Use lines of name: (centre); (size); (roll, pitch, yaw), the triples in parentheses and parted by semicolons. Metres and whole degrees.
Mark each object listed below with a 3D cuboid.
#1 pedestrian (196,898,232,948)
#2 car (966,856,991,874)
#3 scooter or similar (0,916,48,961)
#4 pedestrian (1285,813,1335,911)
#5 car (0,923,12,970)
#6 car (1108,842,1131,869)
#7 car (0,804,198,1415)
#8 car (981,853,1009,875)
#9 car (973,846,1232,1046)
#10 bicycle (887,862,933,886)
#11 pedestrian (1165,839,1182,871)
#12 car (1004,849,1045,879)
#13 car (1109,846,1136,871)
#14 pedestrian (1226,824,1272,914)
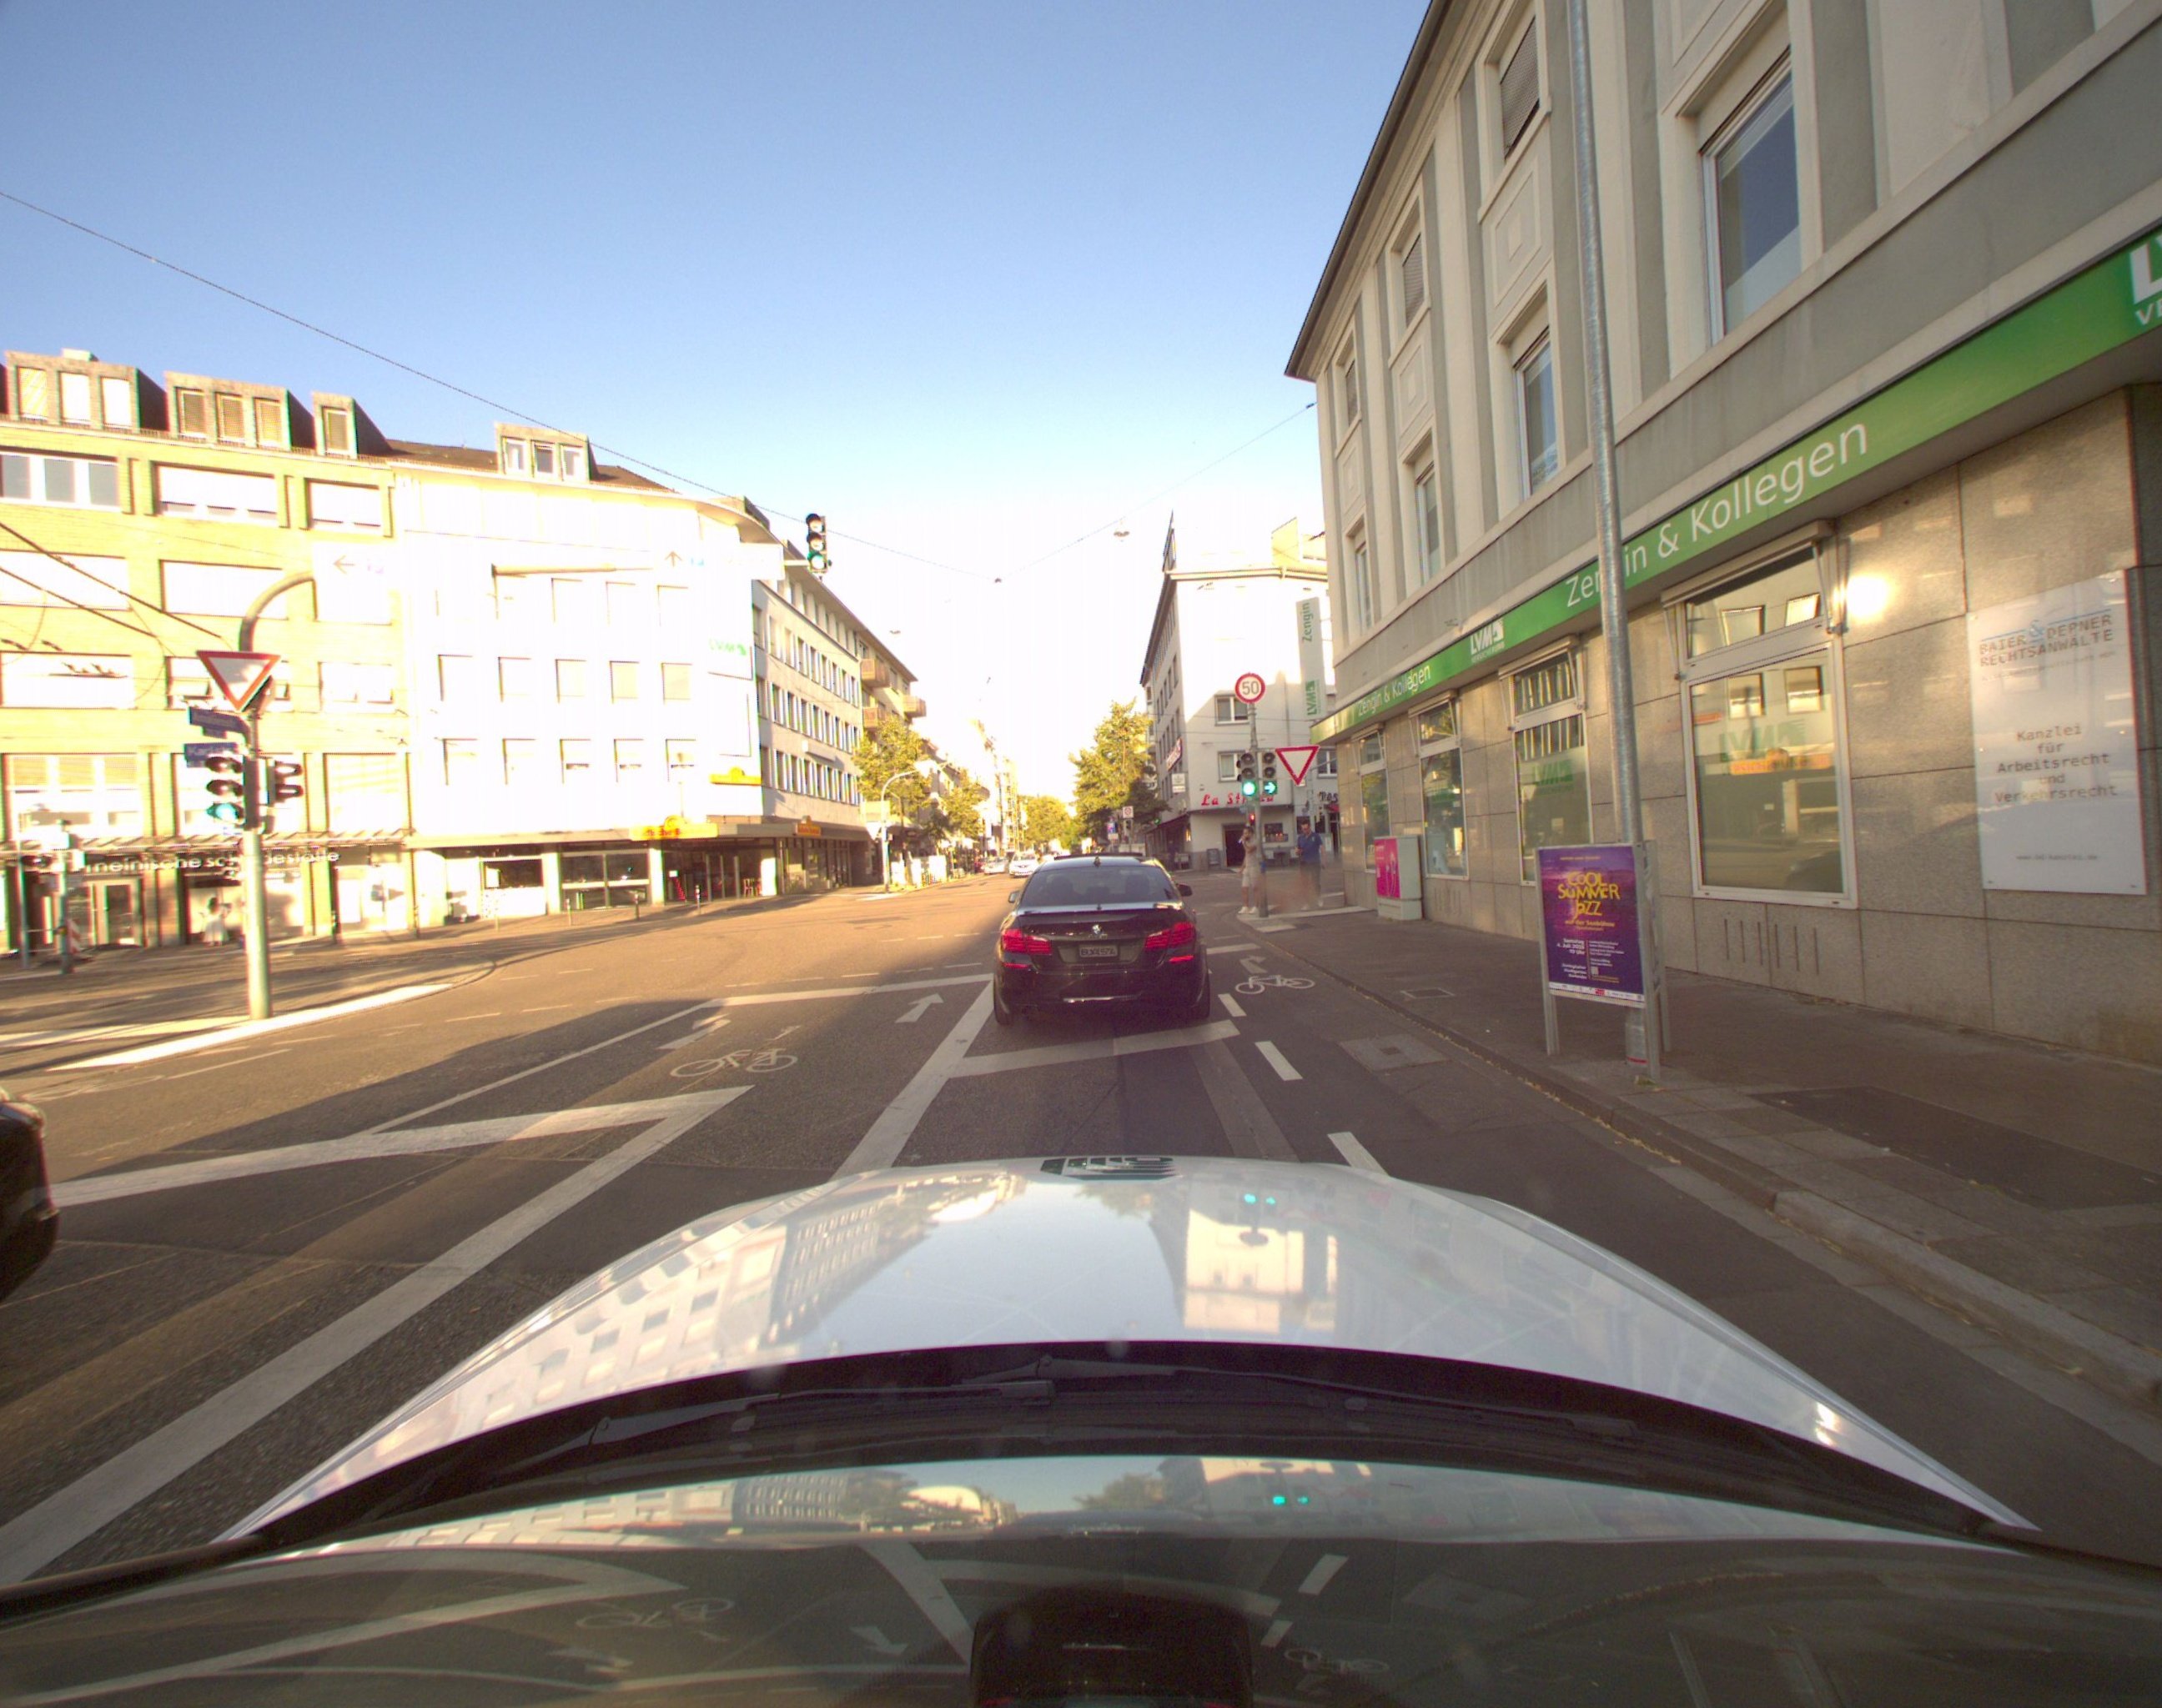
pedestrian: (-27.616, 2.184, 25.945); (0.628, 1.471, 0.537); (-5, 4, -39)
car: (-9.706, 1.023, 77.173); (1.829, 1.556, 3.778); (-4, -1, -1)
scooter or similar: (-32.474, 2.572, 24.628); (1.467, 1.258, 0.393); (-4, 2, -22)
pedestrian: (4.508, 0.155, 16.084); (0.687, 1.827, 0.882); (-4, 0, 7)
car: (-30.878, 2.665, 21.105); (3.393, 1.253, 1.625); (-4, 3, -23)
car: (2.829, 0.100, 59.071); (1.633, 1.873, 3.610); (0, 1, 3)
car: (-3.983, 0.755, 0.476); (1.794, 1.697, 4.571); (-3, 0, 2)
car: (-6.789, 0.770, 64.613); (1.829, 1.556, 3.778); (-3, 0, -1)
car: (0.238, 0.694, 8.428); (1.946, 1.498, 4.467); (-1, 0, 2)
bicycle: (-9.508, 1.134, 45.369); (2.362, 1.253, 0.639); (-2, -1, -4)
pedestrian: (4.957, 0.073, 43.720); (0.709, 1.676, 0.703); (-3, 0, 0)
car: (-3.370, 0.588, 49.203); (2.102, 1.556, 4.011); (-4, -1, -1)
car: (2.694, 0.249, 52.400); (1.633, 1.444, 3.610); (-3, 0, 3)
pedestrian: (3.384, 0.288, 16.416); (0.650, 1.742, 0.693); (-3, 0, -4)
